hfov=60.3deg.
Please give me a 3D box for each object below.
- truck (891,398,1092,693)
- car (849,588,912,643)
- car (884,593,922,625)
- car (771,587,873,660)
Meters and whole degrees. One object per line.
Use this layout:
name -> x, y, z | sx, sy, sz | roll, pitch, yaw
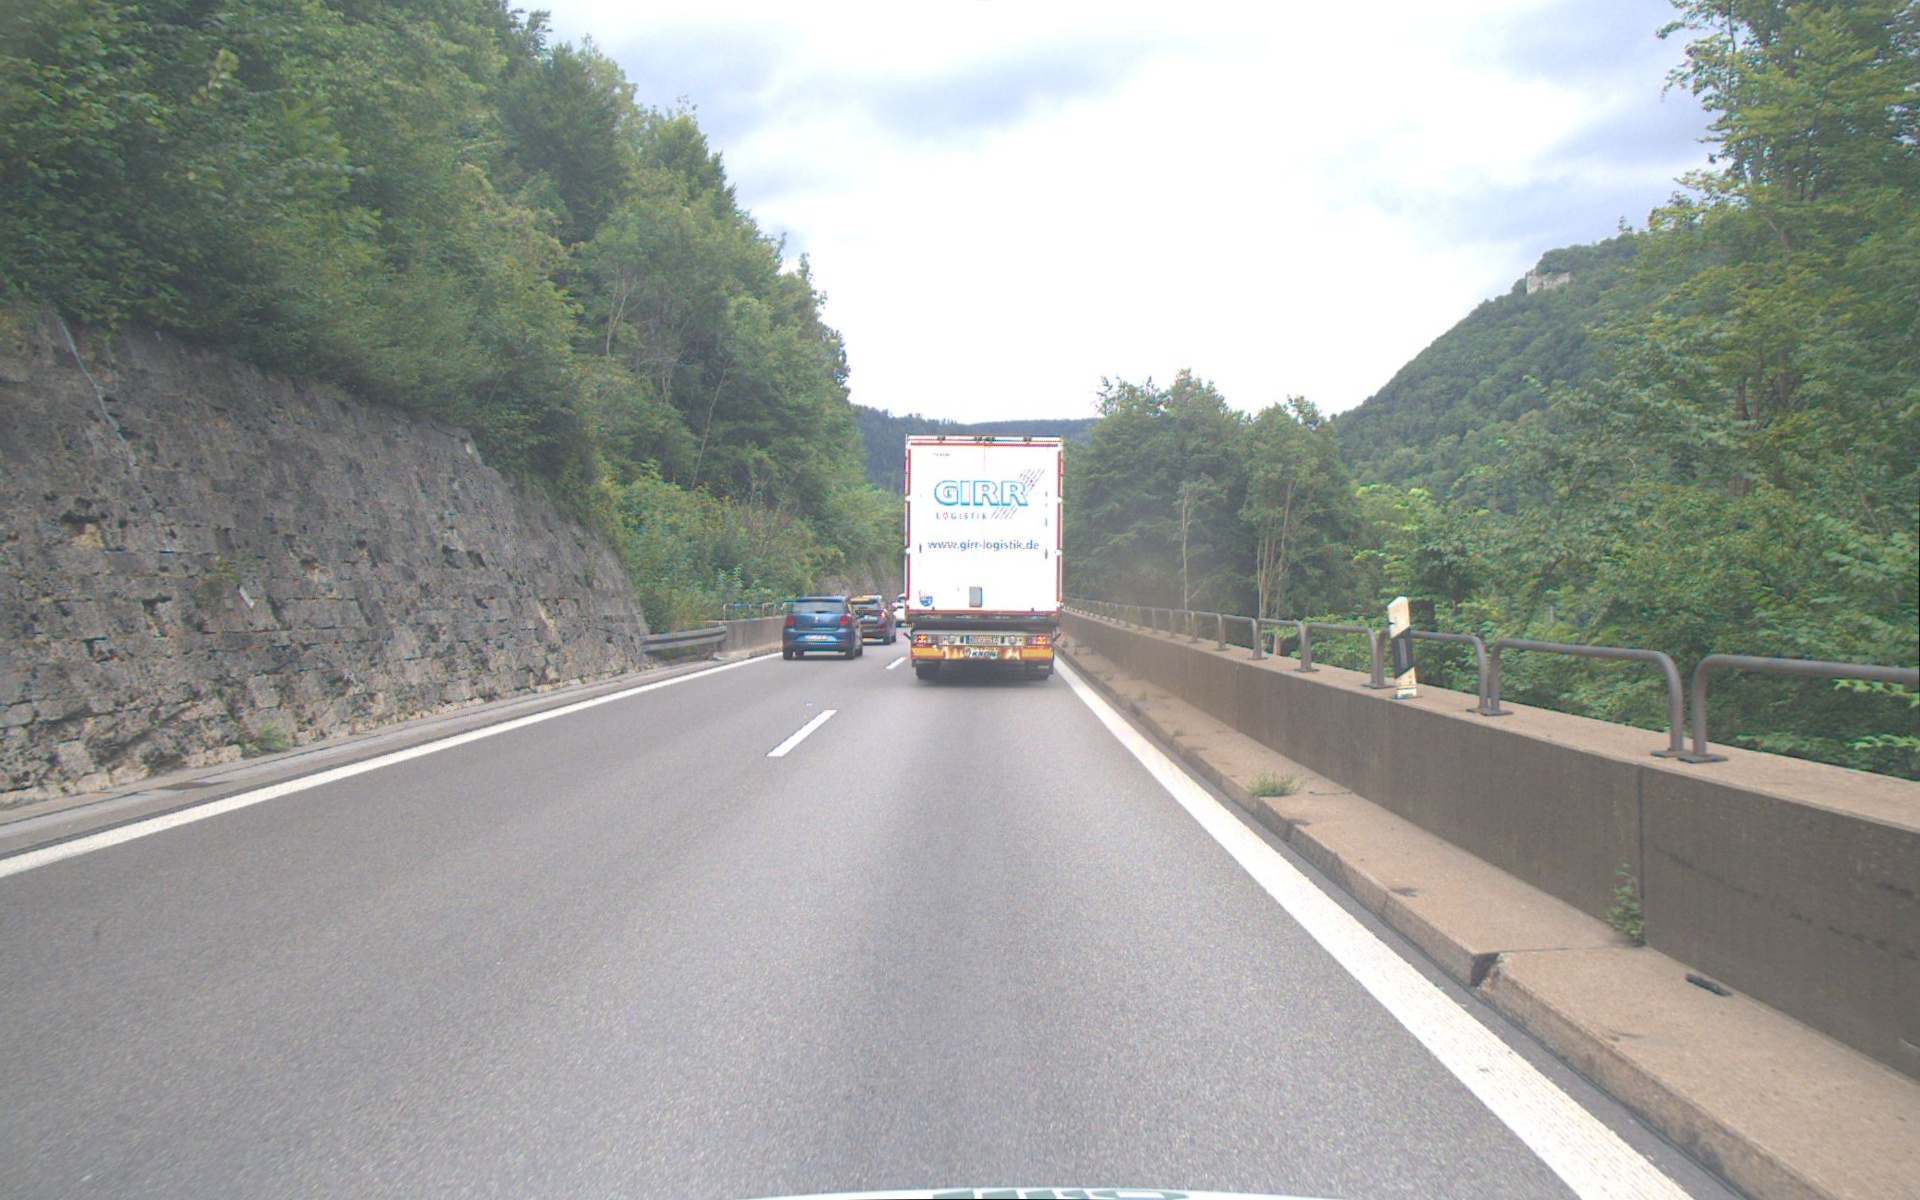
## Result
truck -> 0.686, -0.960, 33.581 | 3.021, 4.541, 15.159 | 2, 1, 1
car -> -2.393, 0.444, 50.383 | 1.709, 1.614, 4.000 | 0, 0, 0
car -> -2.744, 0.448, 80.002 | 1.709, 1.512, 4.000 | 0, -1, 0
car -> -3.165, 0.506, 38.725 | 1.952, 1.624, 4.354 | 0, 0, 1
